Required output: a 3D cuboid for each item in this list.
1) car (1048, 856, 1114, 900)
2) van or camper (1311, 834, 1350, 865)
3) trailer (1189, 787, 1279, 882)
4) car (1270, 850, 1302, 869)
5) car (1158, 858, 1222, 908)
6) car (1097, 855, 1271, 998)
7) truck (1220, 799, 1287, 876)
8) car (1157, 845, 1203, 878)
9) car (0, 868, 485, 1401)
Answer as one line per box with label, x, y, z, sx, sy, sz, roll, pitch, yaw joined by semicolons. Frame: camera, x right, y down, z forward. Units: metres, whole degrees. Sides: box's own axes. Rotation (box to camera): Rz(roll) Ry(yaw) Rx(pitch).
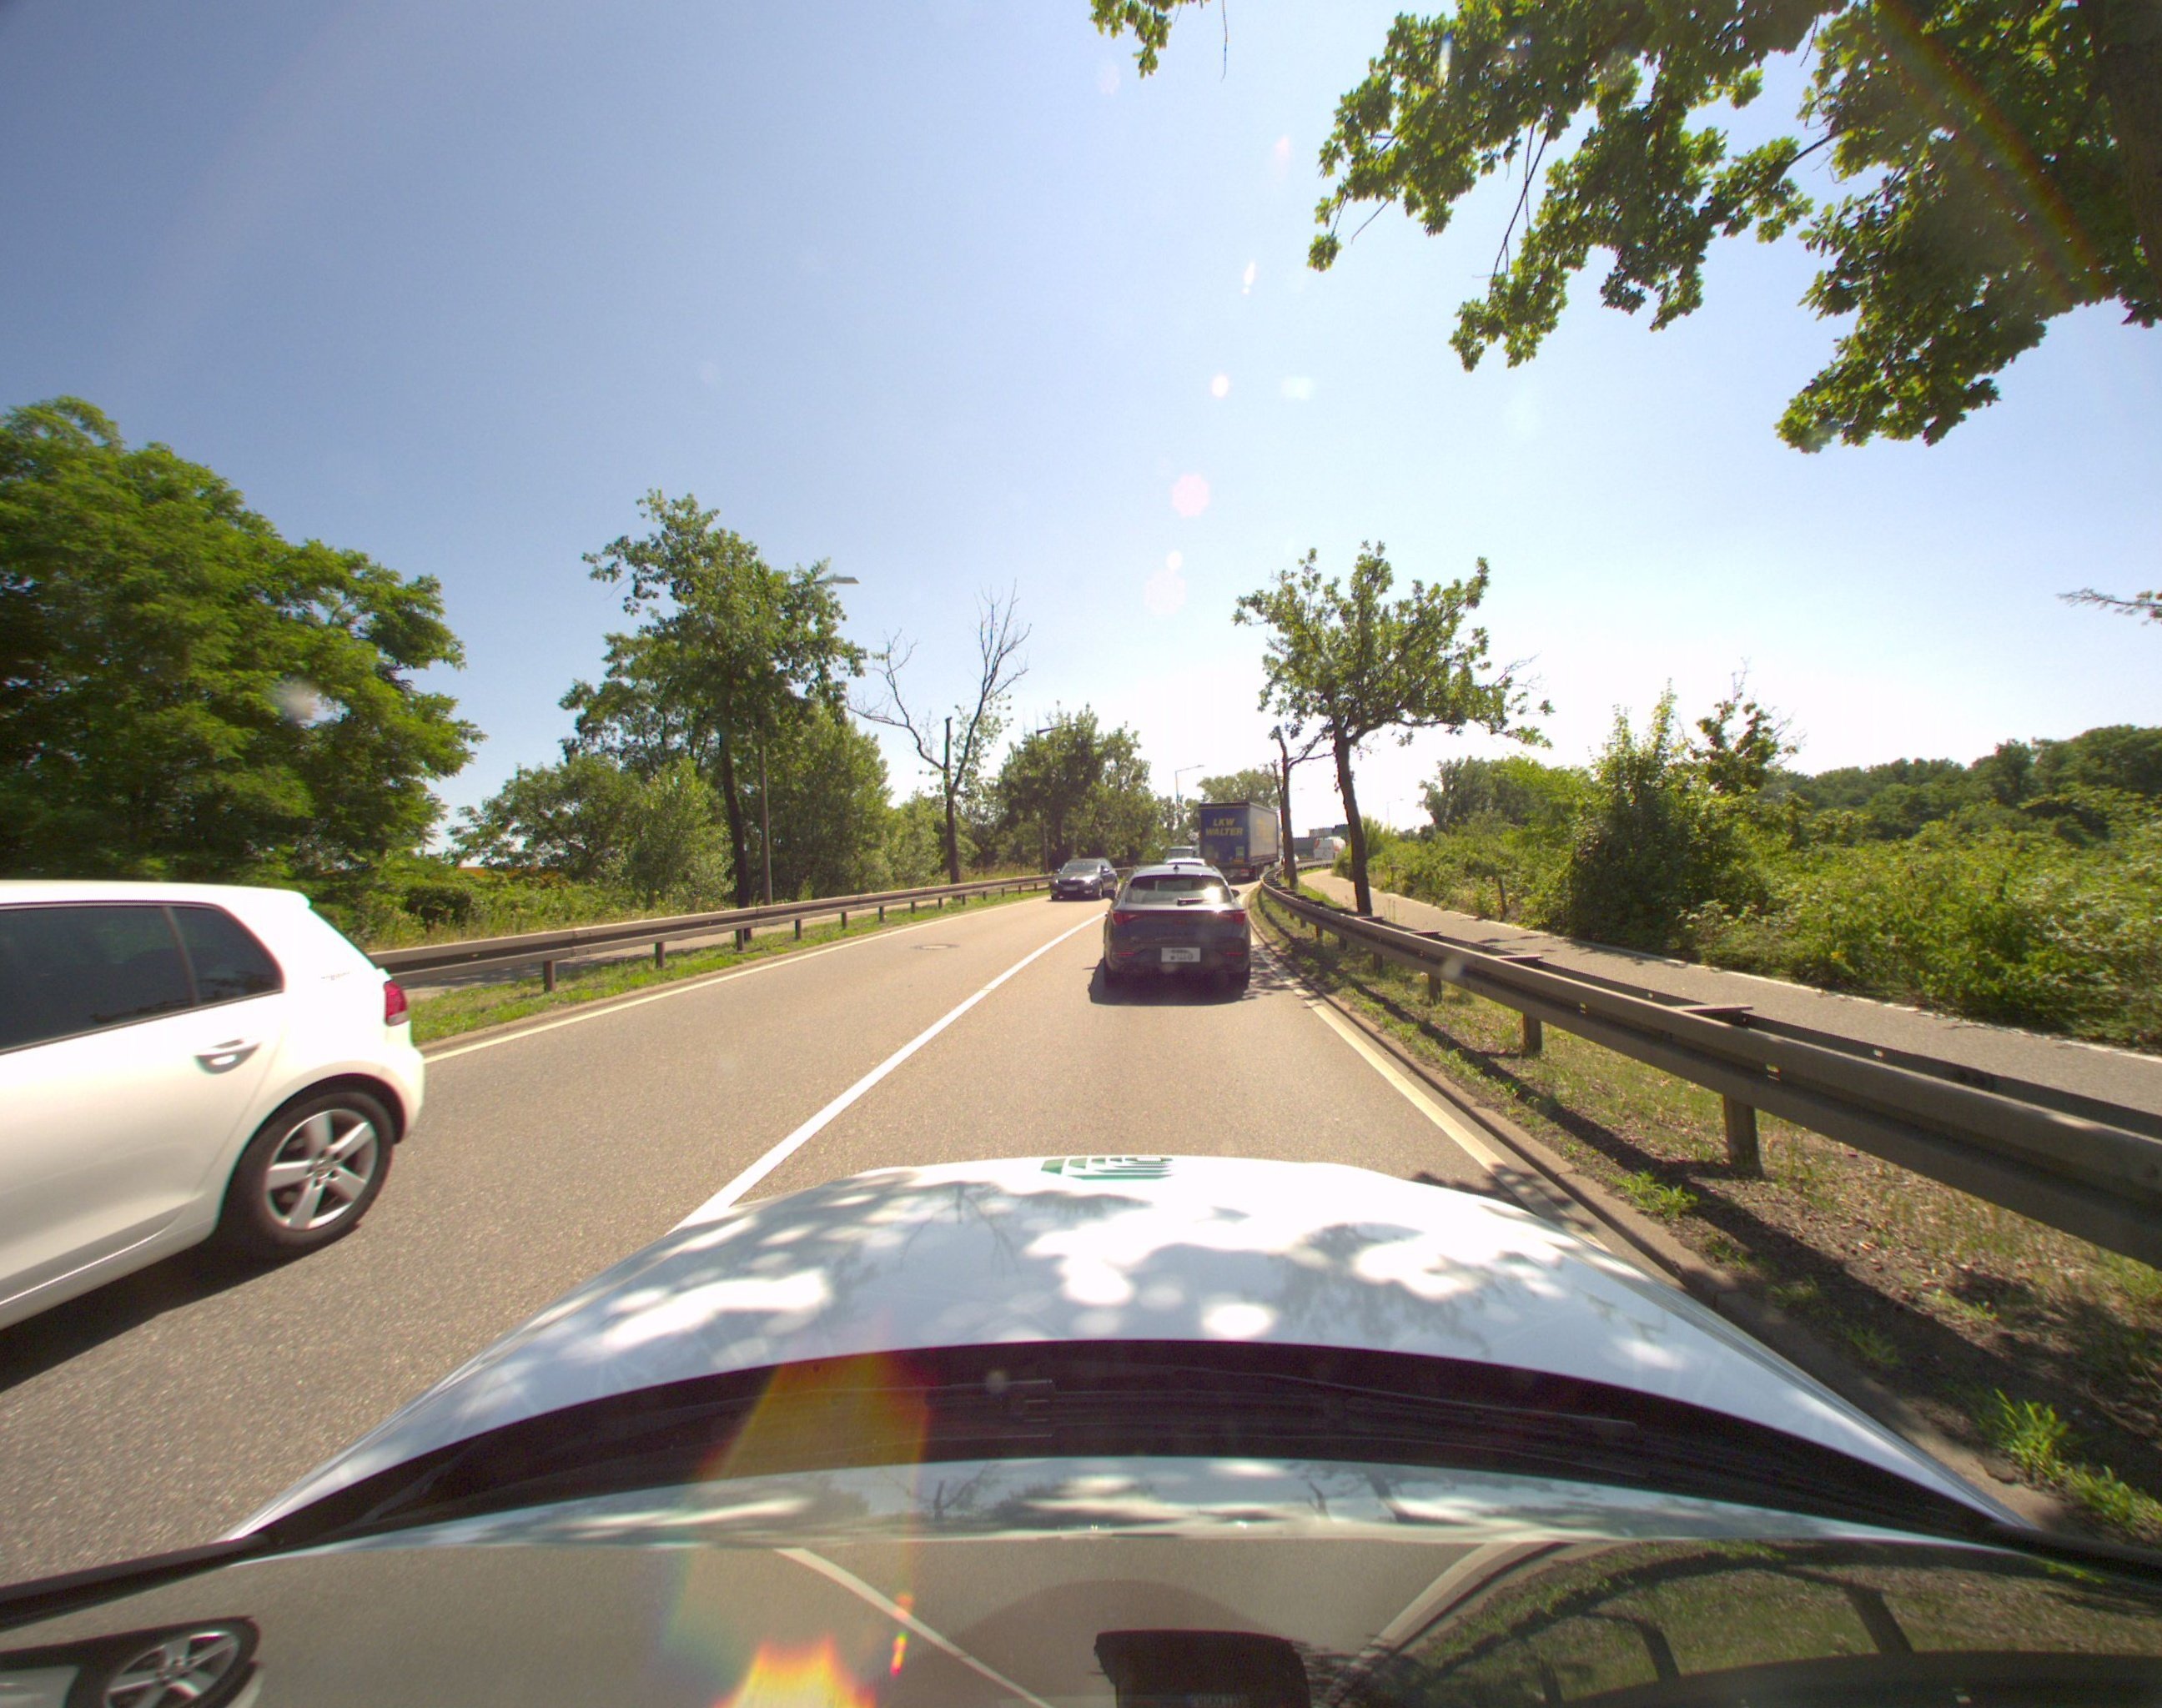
car;0.088;0.835;29.759;1.734;1.447;4.527;-1;0;8
van or camper;22.914;-0.405;74.758;2.182;2.711;5.962;-2;0;29
trailer;8.985;-0.960;46.158;3.108;4.614;13.010;0;0;19
car;18.622;0.450;73.797;1.780;1.618;4.025;-1;0;30
car;3.515;0.854;25.847;1.581;1.461;3.559;0;0;15
car;1.146;0.786;10.649;1.839;1.499;3.758;-1;0;1
truck;11.251;-0.925;52.540;3.143;4.585;7.433;-1;-1;20
car;6.192;0.432;50.363;1.815;1.938;4.799;-1;0;19
car;-3.846;0.790;1.993;1.718;1.438;4.025;0;0;2
